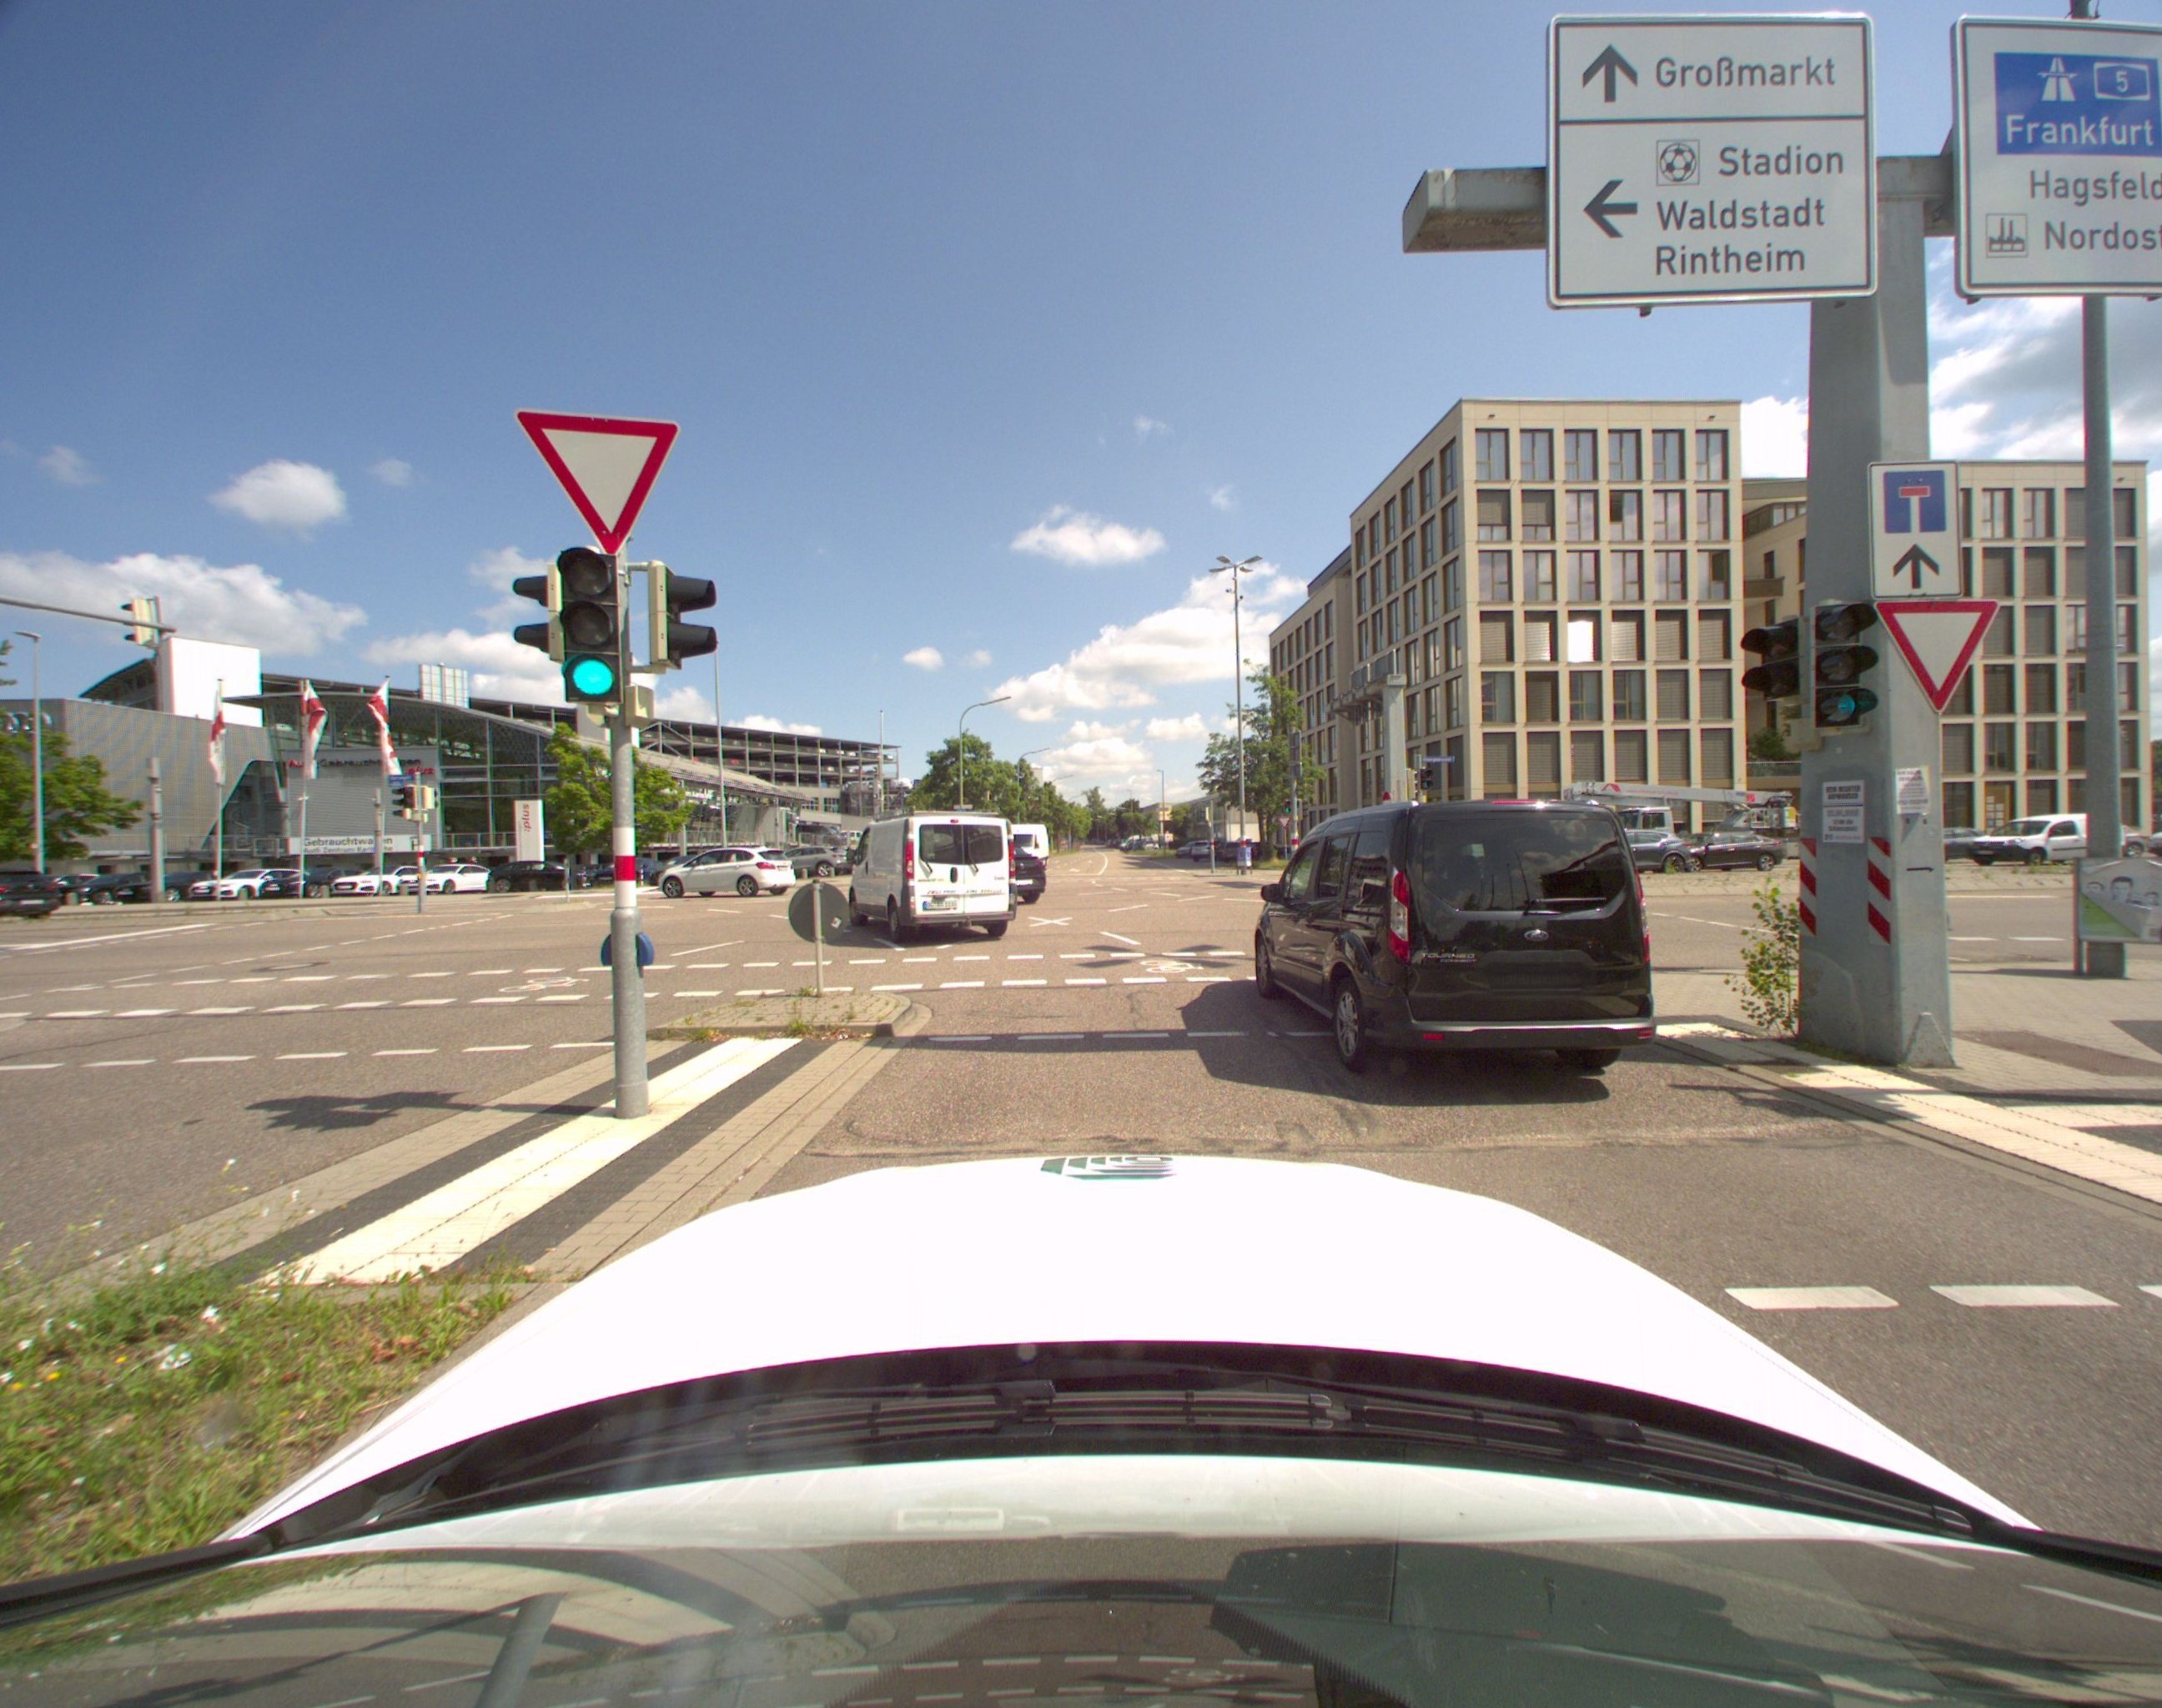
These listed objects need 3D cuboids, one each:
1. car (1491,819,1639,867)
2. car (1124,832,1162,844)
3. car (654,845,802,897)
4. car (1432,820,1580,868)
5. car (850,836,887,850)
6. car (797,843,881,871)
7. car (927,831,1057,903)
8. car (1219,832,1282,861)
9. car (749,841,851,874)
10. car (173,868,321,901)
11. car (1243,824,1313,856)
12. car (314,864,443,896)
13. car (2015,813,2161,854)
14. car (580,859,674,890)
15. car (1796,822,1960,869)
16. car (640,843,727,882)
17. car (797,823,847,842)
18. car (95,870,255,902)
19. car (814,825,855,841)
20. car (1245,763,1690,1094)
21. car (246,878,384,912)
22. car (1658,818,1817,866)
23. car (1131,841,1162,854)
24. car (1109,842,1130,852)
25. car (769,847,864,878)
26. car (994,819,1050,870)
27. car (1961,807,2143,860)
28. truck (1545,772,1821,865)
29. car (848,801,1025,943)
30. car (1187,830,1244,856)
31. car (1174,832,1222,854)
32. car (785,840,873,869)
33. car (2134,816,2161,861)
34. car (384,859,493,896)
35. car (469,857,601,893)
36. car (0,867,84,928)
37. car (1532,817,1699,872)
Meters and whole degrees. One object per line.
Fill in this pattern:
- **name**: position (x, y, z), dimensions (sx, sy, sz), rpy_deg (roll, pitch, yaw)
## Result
- **car**: position (16.767, -0.366, 28.304), dimensions (4.193, 1.626, 1.824), rpy_deg (0, 0, -6)
- **car**: position (10.522, -2.768, 139.447), dimensions (6.322, 2.014, 2.572), rpy_deg (0, 0, -1)
- **car**: position (-11.224, 0.523, 26.030), dimensions (3.966, 1.618, 1.781), rpy_deg (0, 0, 6)
- **car**: position (16.773, -0.391, 32.247), dimensions (4.970, 1.838, 1.996), rpy_deg (0, 0, -6)
- **car**: position (-24.300, -1.211, 93.286), dimensions (3.988, 1.552, 1.759), rpy_deg (0, 0, -11)
- **car**: position (-14.808, 0.166, 49.995), dimensions (4.562, 1.678, 1.906), rpy_deg (0, 0, -2)
- **car**: position (-2.358, 0.286, 20.644), dimensions (1.785, 1.629, 3.961), rpy_deg (-1, 0, -31)
- **car**: position (11.934, -0.542, 57.463), dimensions (3.983, 2.014, 1.995), rpy_deg (0, 0, -7)
- **car**: position (-14.328, 0.182, 41.740), dimensions (4.562, 1.678, 1.906), rpy_deg (0, 0, -2)
- **car**: position (-36.534, 1.301, 35.873), dimensions (1.897, 1.297, 4.585), rpy_deg (0, 0, -3)
- **car**: position (12.674, -0.864, 52.623), dimensions (3.983, 2.014, 1.995), rpy_deg (0, 0, -7)
- **car**: position (-31.071, 1.109, 36.238), dimensions (1.897, 1.297, 4.585), rpy_deg (0, 0, -3)
- **car**: position (41.020, -0.810, 32.968), dimensions (4.417, 1.622, 1.827), rpy_deg (0, 0, -1)
- **car**: position (-20.565, 0.883, 37.157), dimensions (1.897, 1.297, 4.585), rpy_deg (0, 0, -3)
- **car**: position (28.405, -0.306, 29.099), dimensions (4.187, 1.626, 1.827), rpy_deg (0, 0, -2)
- **car**: position (-18.055, 0.383, 37.251), dimensions (1.897, 1.678, 4.585), rpy_deg (0, 0, -3)
- **car**: position (-25.688, -2.102, 80.907), dimensions (4.433, 1.801, 1.762), rpy_deg (0, 0, -5)
- **car**: position (-39.413, 1.423, 35.627), dimensions (1.897, 1.298, 4.583), rpy_deg (0, -3, -3)
- **car**: position (-26.032, -2.215, 86.025), dimensions (3.988, 1.552, 1.759), rpy_deg (0, 0, -11)
- **car**: position (2.655, 0.417, 6.741), dimensions (1.817, 1.905, 4.000), rpy_deg (-1, 0, 0)
- **car**: position (-33.730, 1.762, 36.076), dimensions (1.897, 1.297, 4.585), rpy_deg (0, 0, -3)
- **car**: position (23.185, -0.415, 28.882), dimensions (4.184, 1.626, 1.828), rpy_deg (0, 0, 0)
- **car**: position (9.181, -0.901, 114.533), dimensions (3.983, 1.750, 1.995), rpy_deg (0, 0, -7)
- **car**: position (7.918, -1.439, 167.857), dimensions (3.983, 2.014, 1.995), rpy_deg (0, 0, -7)
- **car**: position (-14.446, 0.441, 44.601), dimensions (4.562, 1.678, 1.906), rpy_deg (0, 0, -2)
- **car**: position (-3.132, -0.454, 44.905), dimensions (2.123, 2.607, 6.871), rpy_deg (0, 0, 4)
- **car**: position (34.862, -0.704, 29.324), dimensions (4.417, 1.838, 1.827), rpy_deg (0, 0, -1)
- **truck**: position (24.167, -1.355, 32.880), dimensions (9.738, 3.555, 2.670), rpy_deg (0, 0, -6)
- **car**: position (-2.721, 0.247, 14.357), dimensions (1.982, 2.060, 4.527), rpy_deg (-1, 0, -25)
- **car**: position (10.374, -0.838, 62.979), dimensions (3.983, 2.014, 1.995), rpy_deg (0, 0, -7)
- **car**: position (10.737, -1.017, 74.978), dimensions (3.983, 2.014, 1.995), rpy_deg (0, 0, -7)
- **car**: position (-14.663, 0.014, 47.549), dimensions (4.562, 1.678, 1.906), rpy_deg (0, 0, -2)
- **car**: position (45.954, -0.631, 32.645), dimensions (4.684, 1.838, 1.832), rpy_deg (0, 0, 7)
- **car**: position (-28.425, 1.074, 36.204), dimensions (1.786, 1.464, 3.995), rpy_deg (-2, -2, -3)
- **car**: position (-24.934, 0.992, 37.312), dimensions (4.731, 1.464, 1.793), rpy_deg (-2, -2, -4)
- **car**: position (-31.299, 1.196, 22.734), dimensions (4.251, 1.618, 1.772), rpy_deg (0, 0, -8)
- **car**: position (16.701, -0.280, 25.551), dimensions (4.193, 1.626, 1.824), rpy_deg (0, 0, -6)
